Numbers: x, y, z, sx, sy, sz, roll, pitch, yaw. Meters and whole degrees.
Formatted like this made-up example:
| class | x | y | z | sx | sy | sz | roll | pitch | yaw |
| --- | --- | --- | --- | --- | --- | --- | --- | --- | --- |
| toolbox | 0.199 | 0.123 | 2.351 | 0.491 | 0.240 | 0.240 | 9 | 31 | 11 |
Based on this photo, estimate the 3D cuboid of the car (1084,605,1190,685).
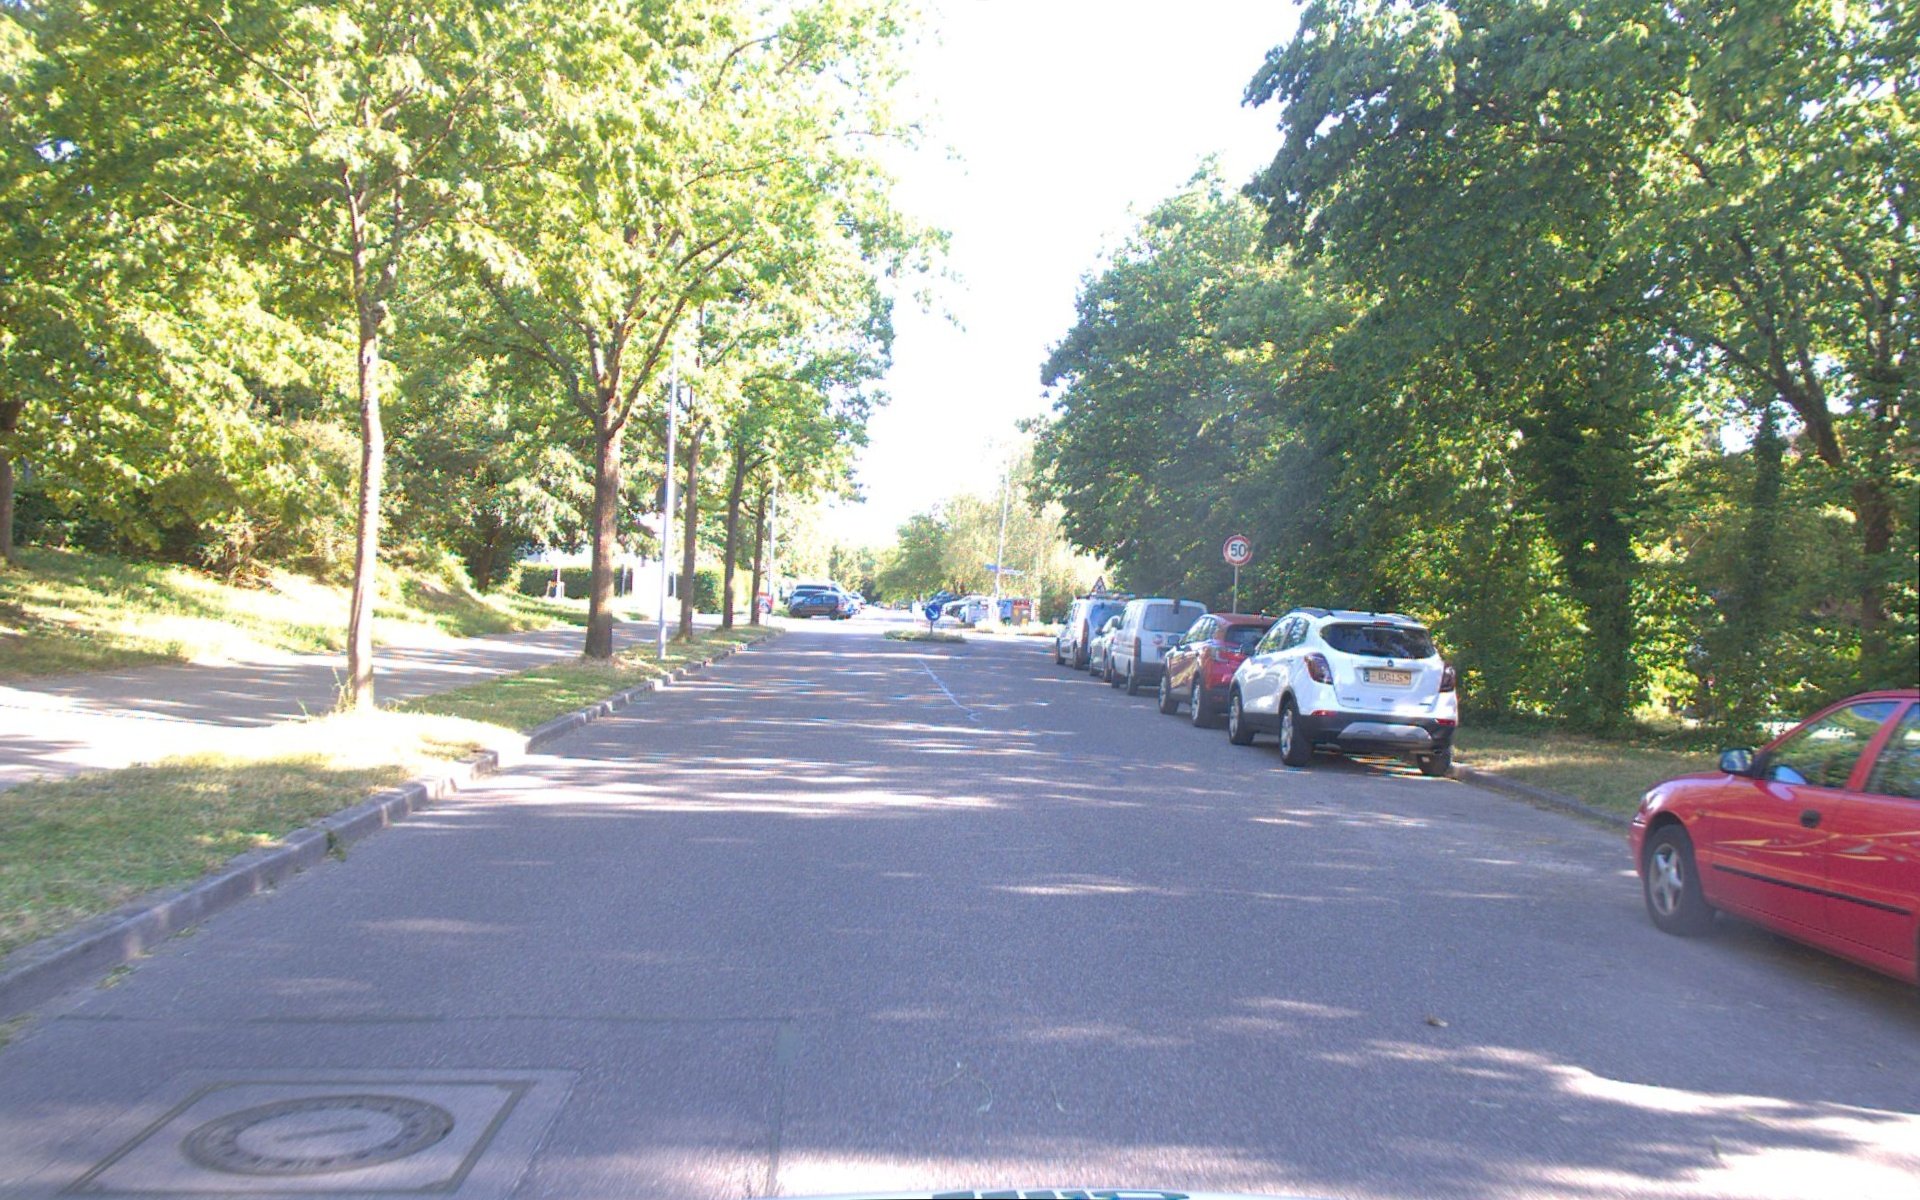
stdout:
| class | x | y | z | sx | sy | sz | roll | pitch | yaw |
| --- | --- | --- | --- | --- | --- | --- | --- | --- | --- |
| car | 3.901 | 0.955 | 37.029 | 1.658 | 1.538 | 4.204 | 4 | 0 | -2 |

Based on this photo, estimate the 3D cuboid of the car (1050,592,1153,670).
| class | x | y | z | sx | sy | sz | roll | pitch | yaw |
| --- | --- | --- | --- | --- | --- | --- | --- | --- | --- |
| car | 3.629 | 0.761 | 43.167 | 1.756 | 1.816 | 4.551 | 4 | 0 | -6 |

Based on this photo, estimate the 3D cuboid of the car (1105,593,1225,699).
| class | x | y | z | sx | sy | sz | roll | pitch | yaw |
| --- | --- | --- | --- | --- | --- | --- | --- | --- | --- |
| car | 3.886 | 0.833 | 31.879 | 1.591 | 1.804 | 3.667 | 4 | 0 | -2 |

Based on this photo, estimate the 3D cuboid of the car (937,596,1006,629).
| class | x | y | z | sx | sy | sz | roll | pitch | yaw |
| --- | --- | --- | --- | --- | --- | --- | --- | --- | --- |
| car | 0.695 | 0.714 | 95.288 | 3.759 | 1.604 | 1.689 | 5 | 0 | 4 |

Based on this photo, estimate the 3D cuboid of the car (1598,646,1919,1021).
| class | x | y | z | sx | sy | sz | roll | pitch | yaw |
| --- | --- | --- | --- | --- | --- | --- | --- | --- | --- |
| car | 4.608 | 1.029 | 7.445 | 1.628 | 1.399 | 4.152 | 4 | 0 | -3 |

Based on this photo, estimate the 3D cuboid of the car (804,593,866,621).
| class | x | y | z | sx | sy | sz | roll | pitch | yaw |
| --- | --- | --- | --- | --- | --- | --- | --- | --- | --- |
| car | -8.510 | 0.471 | 112.874 | 4.024 | 1.604 | 1.958 | 5 | 0 | -1 |

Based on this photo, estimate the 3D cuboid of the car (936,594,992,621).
| class | x | y | z | sx | sy | sz | roll | pitch | yaw |
| --- | --- | --- | --- | --- | --- | --- | --- | --- | --- |
| car | 0.282 | 0.551 | 117.894 | 3.759 | 1.604 | 1.689 | 5 | 0 | 4 |

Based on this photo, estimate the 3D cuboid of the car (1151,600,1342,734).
| class | x | y | z | sx | sy | sz | roll | pitch | yaw |
| --- | --- | --- | --- | --- | --- | --- | --- | --- | --- |
| car | 4.057 | 0.893 | 24.092 | 1.741 | 1.649 | 4.061 | 4 | 0 | -4 |

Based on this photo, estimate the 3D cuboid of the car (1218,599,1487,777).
| class | x | y | z | sx | sy | sz | roll | pitch | yaw |
| --- | --- | --- | --- | --- | --- | --- | --- | --- | --- |
| car | 4.275 | 0.889 | 18.683 | 1.741 | 1.649 | 4.061 | 4 | 0 | -4 |

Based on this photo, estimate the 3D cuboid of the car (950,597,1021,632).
| class | x | y | z | sx | sy | sz | roll | pitch | yaw |
| --- | --- | --- | --- | --- | --- | --- | --- | --- | --- |
| car | 1.453 | 0.813 | 92.497 | 3.759 | 1.604 | 1.689 | 5 | 0 | 4 |

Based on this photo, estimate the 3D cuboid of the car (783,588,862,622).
| class | x | y | z | sx | sy | sz | roll | pitch | yaw |
| --- | --- | --- | --- | --- | --- | --- | --- | --- | --- |
| car | -7.995 | 0.297 | 96.584 | 4.228 | 1.604 | 2.047 | 5 | 0 | 4 |

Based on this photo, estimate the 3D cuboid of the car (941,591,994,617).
| class | x | y | z | sx | sy | sz | roll | pitch | yaw |
| --- | --- | --- | --- | --- | --- | --- | --- | --- | --- |
| car | 0.574 | 0.316 | 121.041 | 3.760 | 1.604 | 1.689 | 5 | 0 | 2 |

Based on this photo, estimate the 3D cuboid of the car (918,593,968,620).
| class | x | y | z | sx | sy | sz | roll | pitch | yaw |
| --- | --- | --- | --- | --- | --- | --- | --- | --- | --- |
| car | -1.326 | 0.549 | 132.096 | 3.760 | 1.827 | 1.689 | 5 | 0 | 2 |

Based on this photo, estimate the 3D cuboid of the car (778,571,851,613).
| class | x | y | z | sx | sy | sz | roll | pitch | yaw |
| --- | --- | --- | --- | --- | --- | --- | --- | --- | --- |
| car | -10.740 | -0.600 | 121.726 | 5.102 | 2.666 | 2.290 | 5 | 0 | -8 |
